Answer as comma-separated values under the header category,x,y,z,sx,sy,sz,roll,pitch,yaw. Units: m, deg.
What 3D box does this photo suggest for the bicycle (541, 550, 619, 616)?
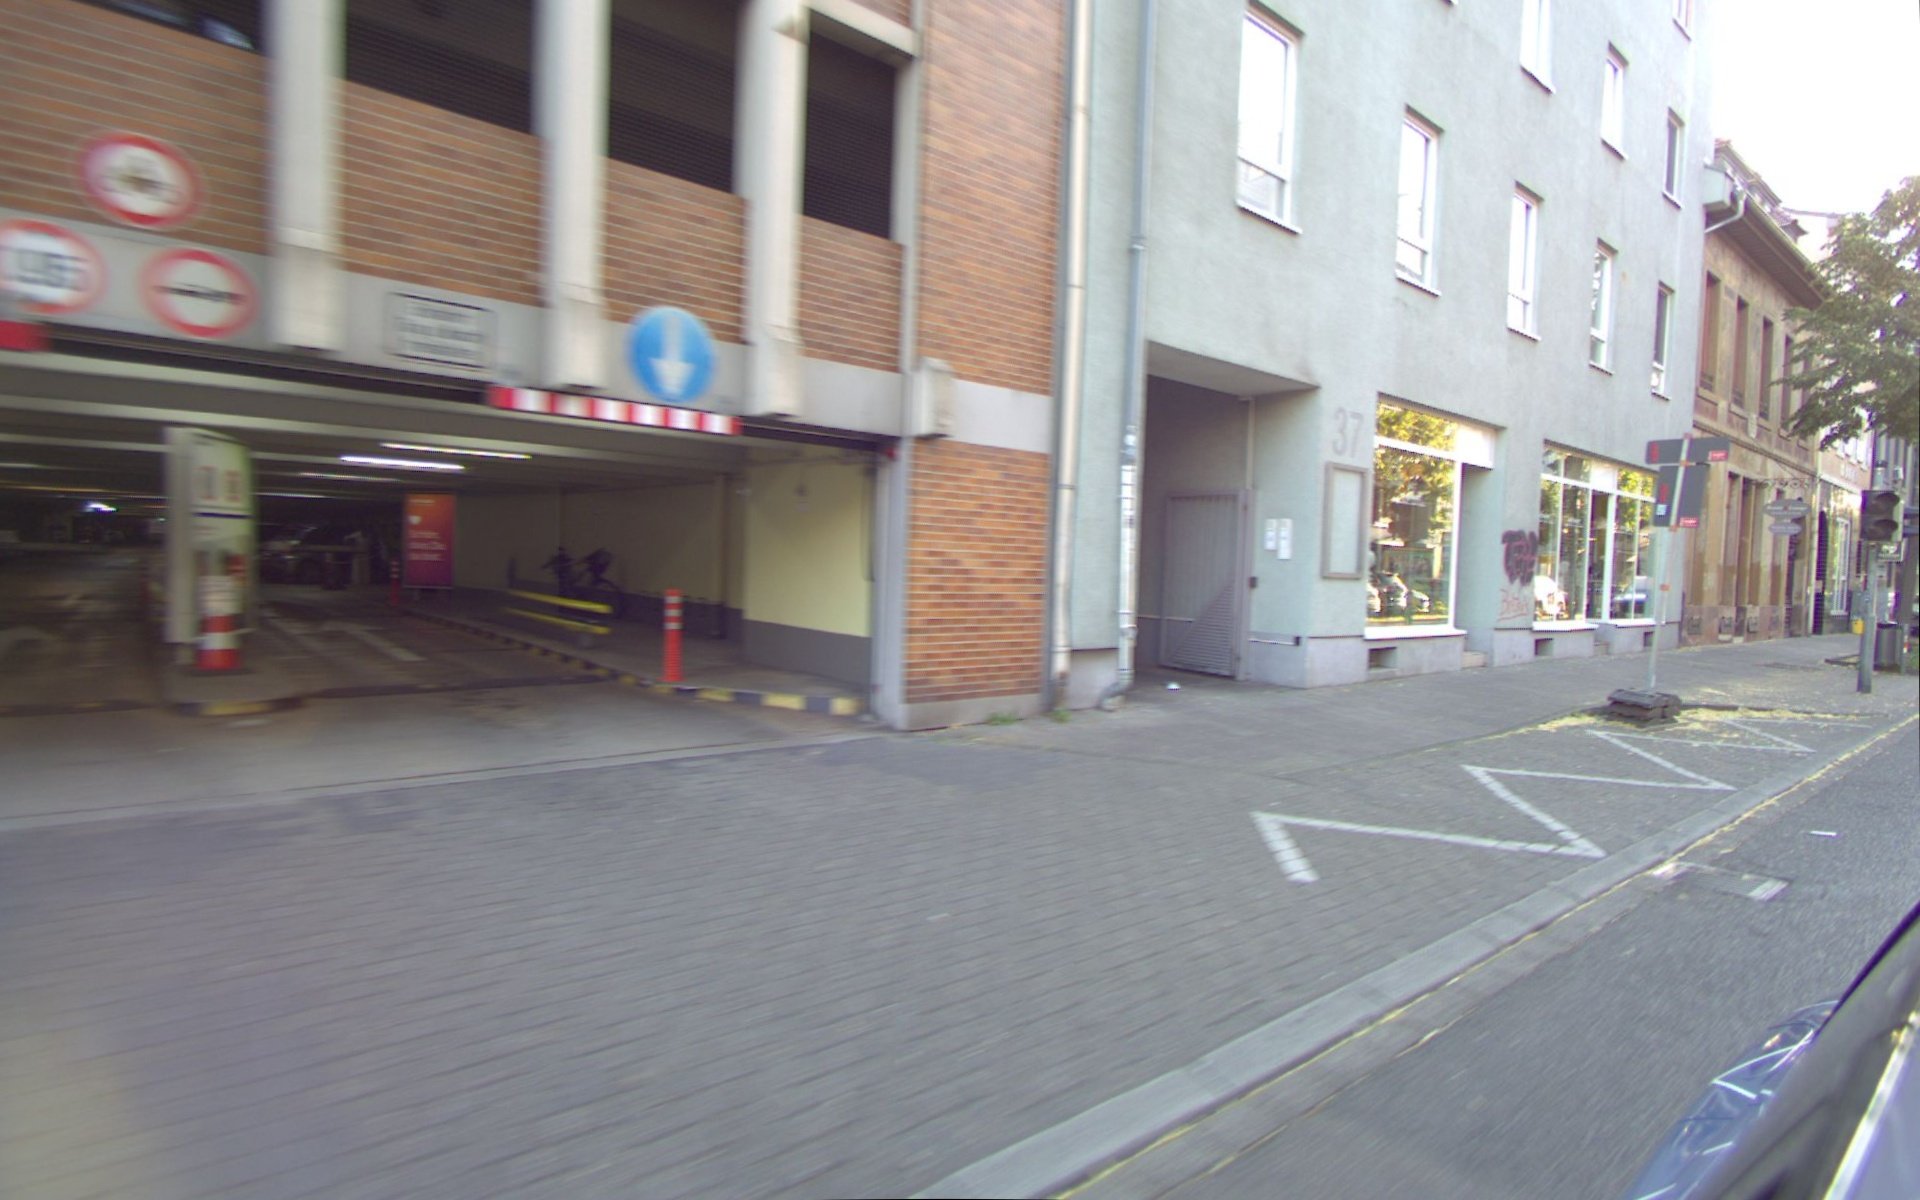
category,x,y,z,sx,sy,sz,roll,pitch,yaw
bicycle,-6.056,-0.304,16.037,0.327,0.936,2.351,0,3,-42

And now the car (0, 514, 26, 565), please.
category,x,y,z,sx,sy,sz,roll,pitch,yaw
car,-30.207,-1.797,29.584,3.916,1.467,1.676,0,0,-16

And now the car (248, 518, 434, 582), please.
category,x,y,z,sx,sy,sz,roll,pitch,yaw
car,-15.644,-1.213,25.649,3.925,1.467,1.672,0,0,-36

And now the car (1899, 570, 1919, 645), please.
category,x,y,z,sx,sy,sz,roll,pitch,yaw
car,25.180,0.255,25.129,4.627,1.758,2.045,0,5,-40

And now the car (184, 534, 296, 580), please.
category,x,y,z,sx,sy,sz,roll,pitch,yaw
car,-24.838,-1.465,35.062,1.640,1.467,3.291,0,0,-2
